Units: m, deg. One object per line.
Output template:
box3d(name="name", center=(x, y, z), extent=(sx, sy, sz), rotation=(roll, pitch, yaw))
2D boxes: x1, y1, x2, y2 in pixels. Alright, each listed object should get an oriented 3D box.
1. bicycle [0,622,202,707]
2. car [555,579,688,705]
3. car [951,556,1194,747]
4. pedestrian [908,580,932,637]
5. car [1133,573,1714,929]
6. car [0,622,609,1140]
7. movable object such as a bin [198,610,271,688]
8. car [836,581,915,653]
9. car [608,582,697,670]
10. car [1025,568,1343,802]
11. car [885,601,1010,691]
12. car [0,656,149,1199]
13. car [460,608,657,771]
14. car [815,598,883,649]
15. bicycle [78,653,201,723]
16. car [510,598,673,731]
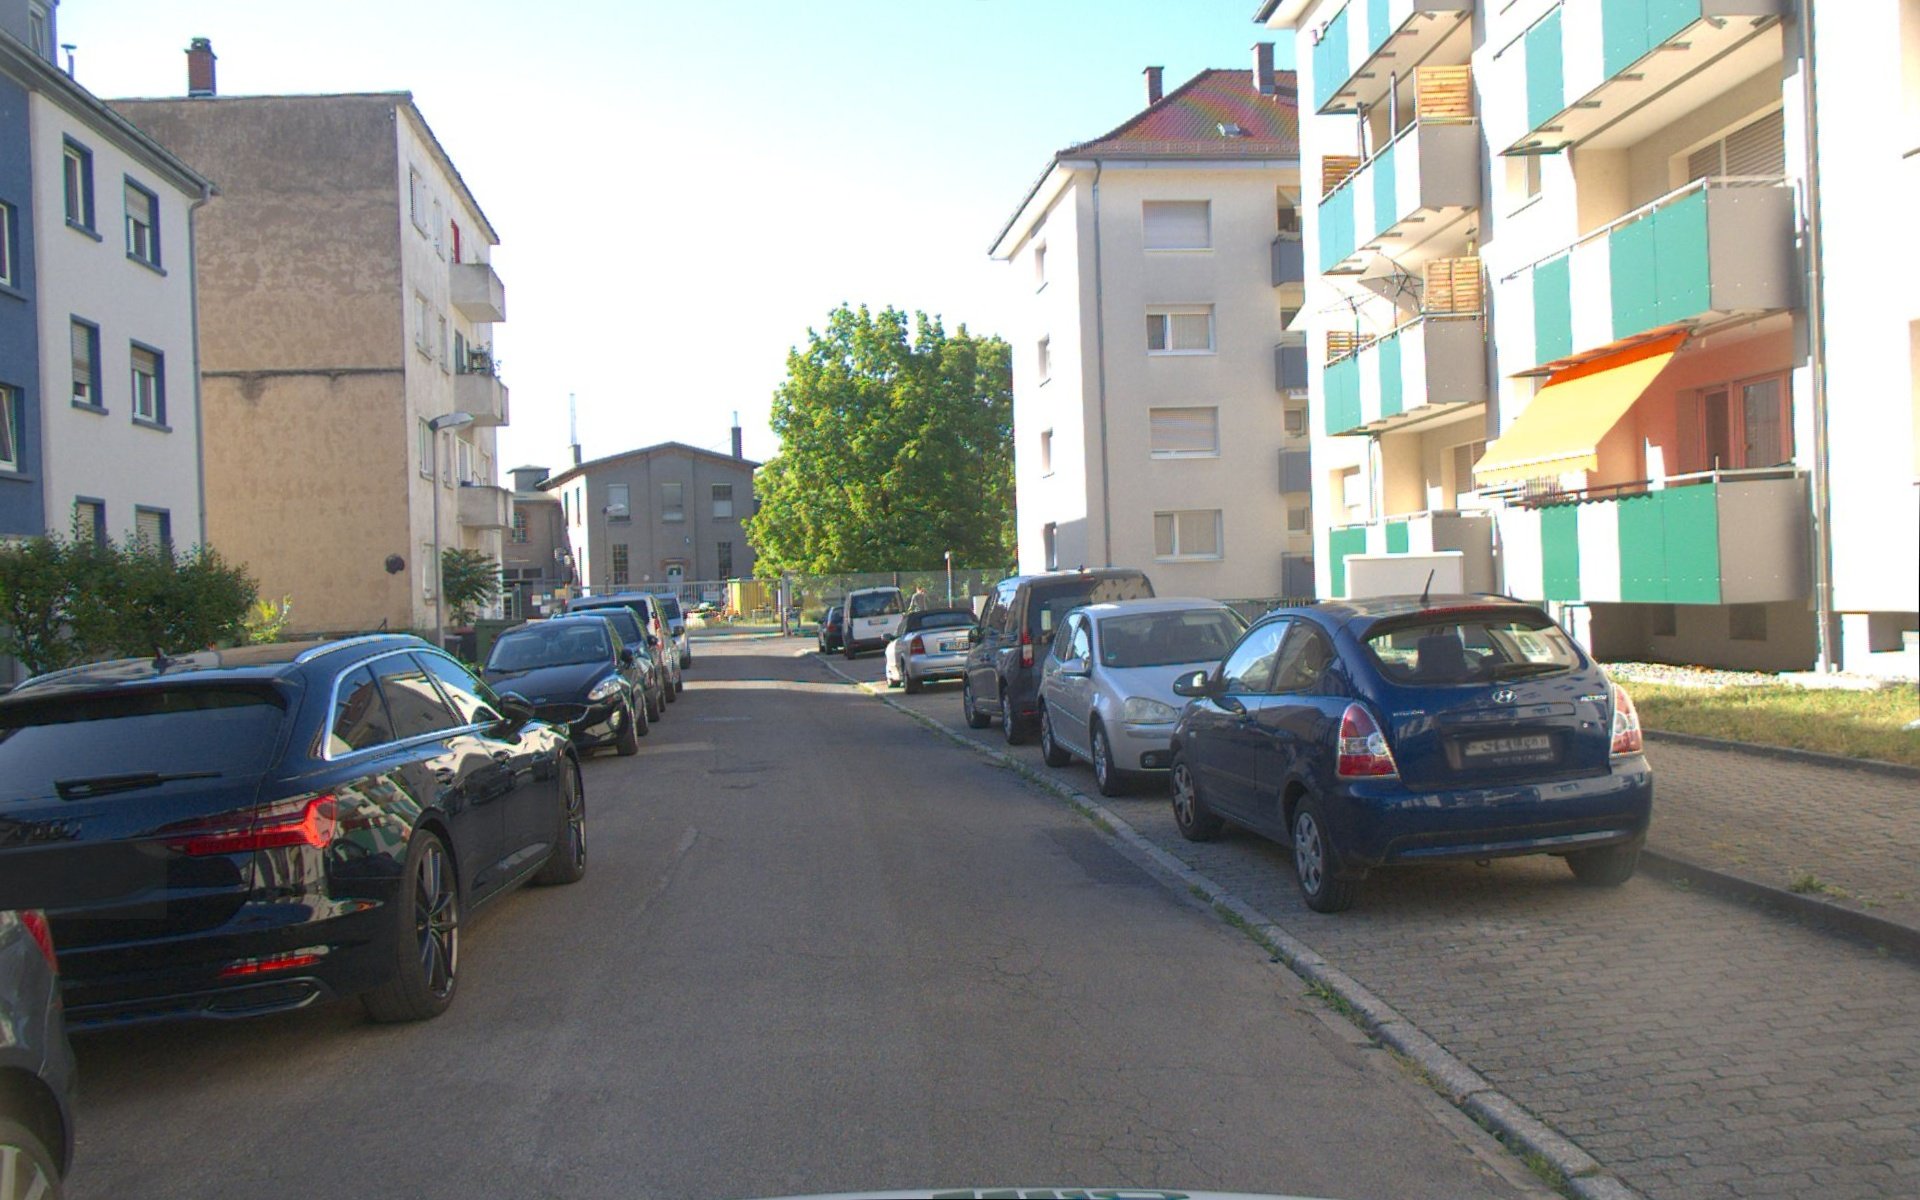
box3d(name="bicycle", center=(-12.445, 0.914, 23.864), extent=(2.624, 1.150, 0.770), rotation=(0, 0, -15))
box3d(name="car", center=(-5.717, 0.697, 28.369), extent=(1.861, 1.887, 4.187), rotation=(-3, -1, -8))
box3d(name="car", center=(1.181, 0.570, 19.472), extent=(1.862, 1.887, 4.334), rotation=(-3, -1, -9))
box3d(name="pedestrian", center=(-1.332, 0.279, 55.381), extent=(0.641, 1.847, 0.614), rotation=(-4, 0, 2))
box3d(name="car", center=(2.341, 0.688, 9.653), extent=(1.705, 1.456, 4.350), rotation=(-5, 0, -6))
box3d(name="car", center=(-2.875, 0.930, 7.454), extent=(1.709, 1.456, 4.595), rotation=(-5, 0, -3))
box3d(name="movable object such as a bin", center=(-15.593, 1.038, 35.574), extent=(1.049, 1.566, 1.354), rotation=(-4, 0, -10))
box3d(name="car", center=(-2.397, 0.460, 45.786), extent=(1.733, 1.769, 4.087), rotation=(-4, 0, -8))
box3d(name="car", center=(-8.081, 0.666, 43.777), extent=(1.957, 2.048, 4.445), rotation=(-4, 0, -8))
box3d(name="car", center=(1.748, 0.627, 14.235), extent=(1.650, 1.615, 4.006), rotation=(-4, 0, -7))
box3d(name="car", center=(-0.300, 0.791, 29.825), extent=(1.685, 1.388, 4.048), rotation=(-4, 0, -8))
box3d(name="car", center=(-2.544, 0.957, 1.819), extent=(1.449, 1.502, 3.631), rotation=(-6, 0, 0))
box3d(name="car", center=(-4.289, 0.892, 18.174), extent=(1.628, 1.468, 3.864), rotation=(-4, 0, -8))
box3d(name="car", center=(-3.486, 0.707, 51.238), extent=(1.733, 1.386, 4.087), rotation=(-4, 0, -8))
box3d(name="bicycle", center=(-13.107, 1.396, 26.450), extent=(1.615, 0.953, 0.547), rotation=(-5, 0, -6))
box3d(name="car", center=(-5.010, 0.834, 22.954), extent=(1.799, 1.541, 3.992), rotation=(-4, 0, -8))
